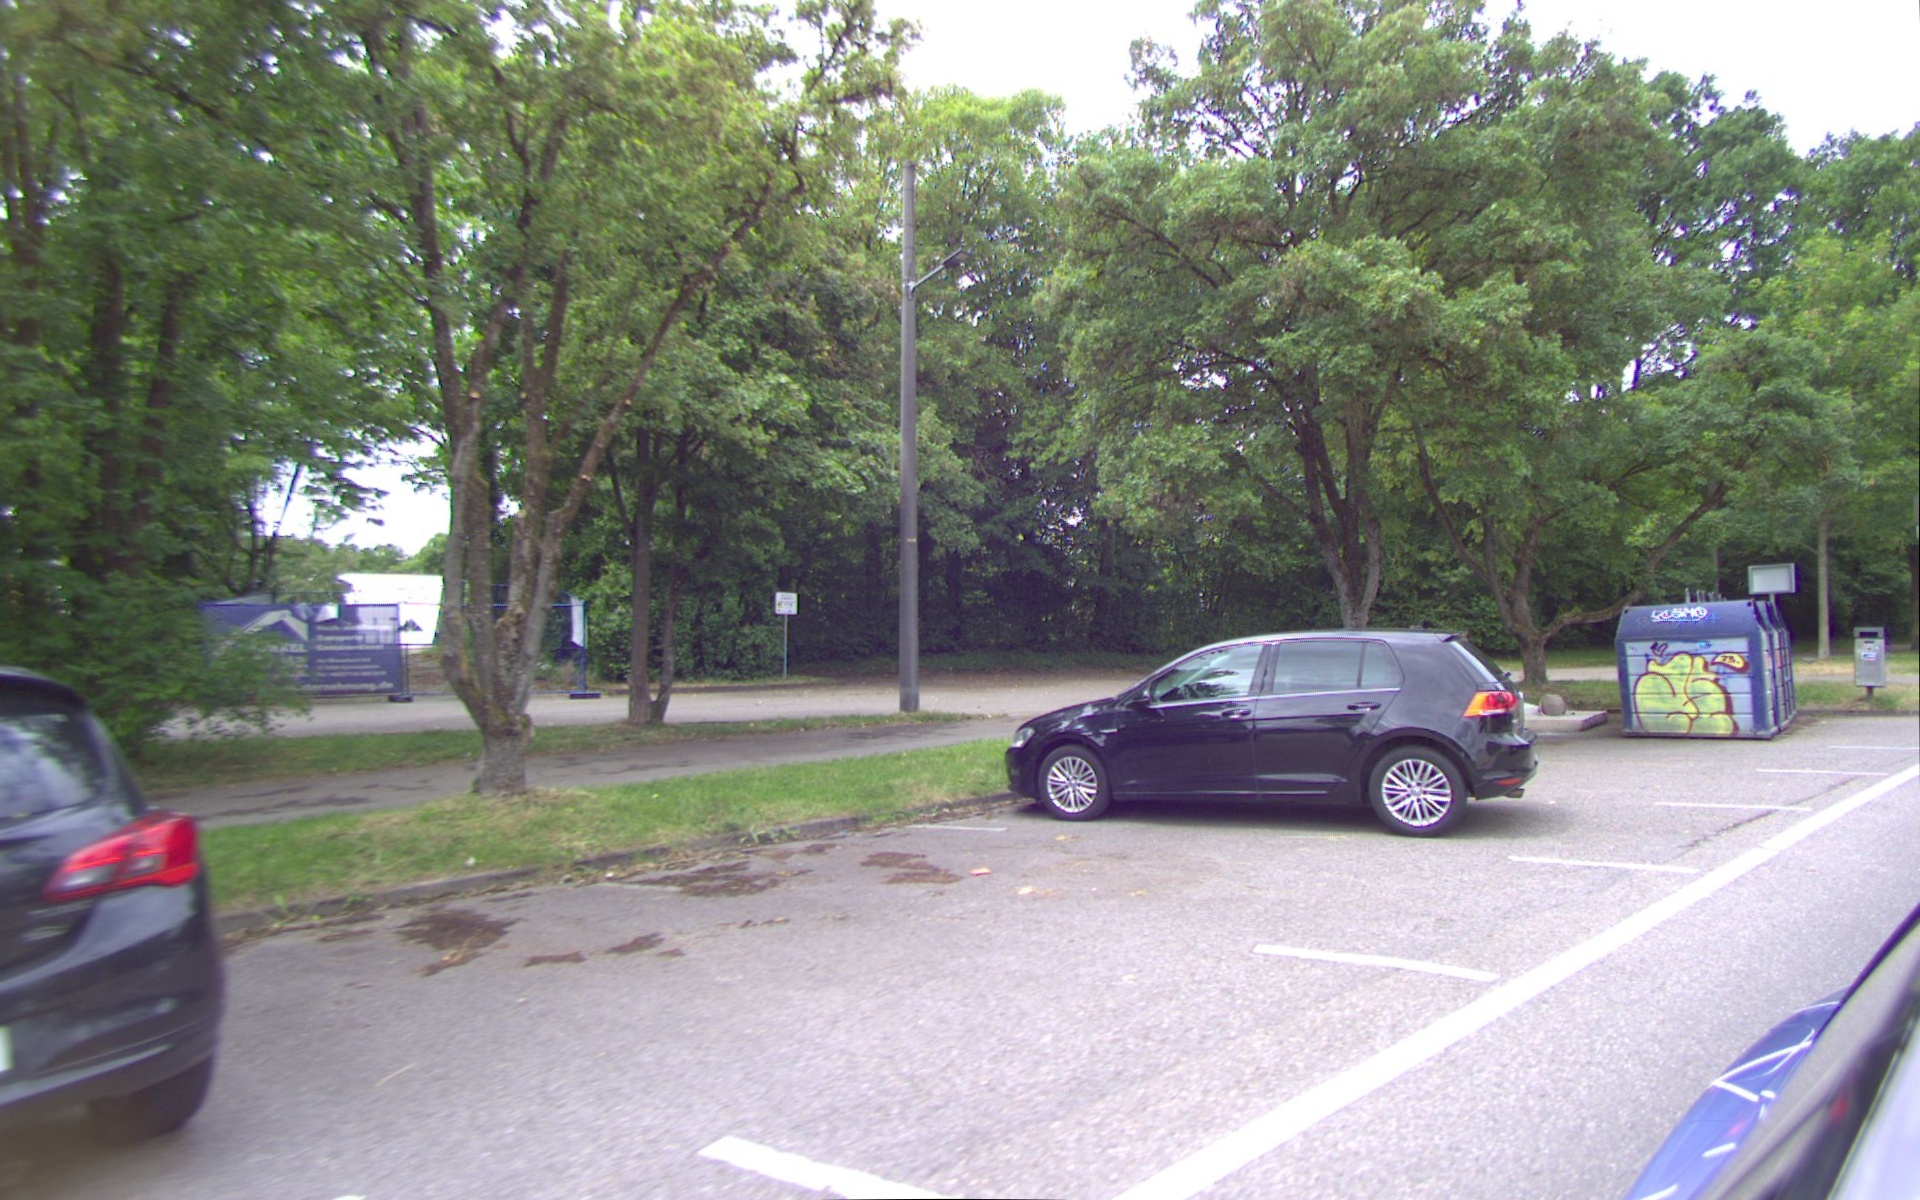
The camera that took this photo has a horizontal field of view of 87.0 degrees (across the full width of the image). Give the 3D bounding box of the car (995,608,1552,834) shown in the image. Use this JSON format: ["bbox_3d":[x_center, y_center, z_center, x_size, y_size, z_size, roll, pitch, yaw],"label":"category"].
[{"bbox_3d":[2.535,0.915,8.355,3.966,1.432,2.035,-5,-3,31],"label":"car"}]

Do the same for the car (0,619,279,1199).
[{"bbox_3d":[-3.895,0.921,3.275,3.808,1.487,1.722,-5,-5,38],"label":"car"}]
